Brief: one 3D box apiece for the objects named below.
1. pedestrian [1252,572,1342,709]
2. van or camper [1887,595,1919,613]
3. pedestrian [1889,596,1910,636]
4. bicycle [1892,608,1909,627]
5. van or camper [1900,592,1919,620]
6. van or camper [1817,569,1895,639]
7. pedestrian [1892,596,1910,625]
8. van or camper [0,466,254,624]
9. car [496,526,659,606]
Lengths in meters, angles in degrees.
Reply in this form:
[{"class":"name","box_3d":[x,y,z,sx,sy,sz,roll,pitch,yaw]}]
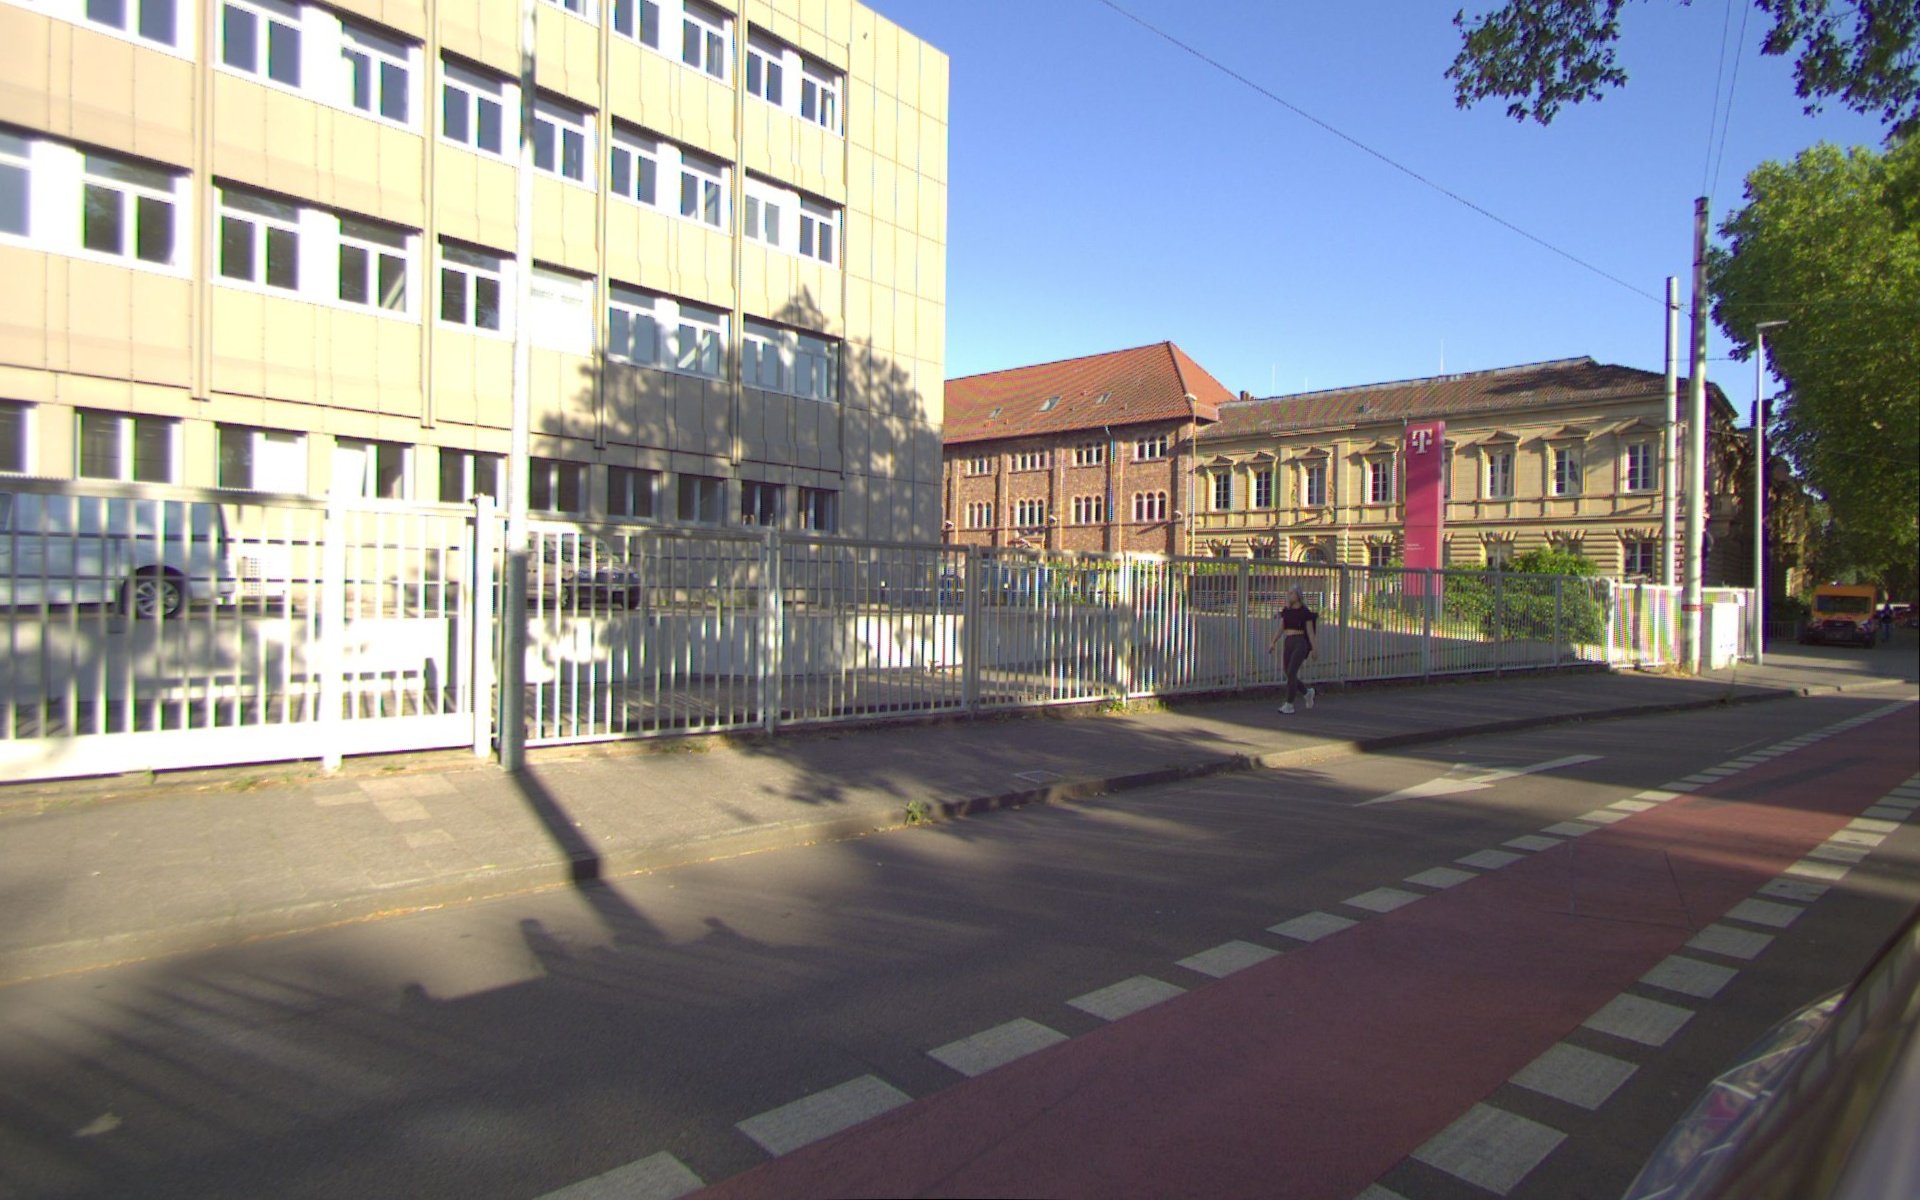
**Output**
[{"class":"pedestrian","box_3d":[4.395,0.498,13.200,0.913,1.705,0.698,1,1,-37]},{"class":"van or camper","box_3d":[132.388,0.588,139.925,6.084,2.461,2.390,2,1,44]},{"class":"pedestrian","box_3d":[41.840,0.702,45.076,0.650,1.758,0.992,1,0,43]},{"class":"bicycle","box_3d":[55.695,1.043,59.928,0.674,1.045,1.871,4,3,42]},{"class":"van or camper","box_3d":[92.965,0.633,95.675,5.908,2.528,2.189,2,3,41]},{"class":"van or camper","box_3d":[35.791,0.149,40.372,2.036,2.591,5.680,2,1,44]},{"class":"pedestrian","box_3d":[55.703,0.628,59.909,0.669,1.639,1.085,4,3,42]},{"class":"van or camper","box_3d":[-12.374,-0.702,13.171,1.980,1.932,4.923,2,1,42]},{"class":"car","box_3d":[-9.168,-0.791,24.093,4.251,1.739,1.963,2,1,43]}]
